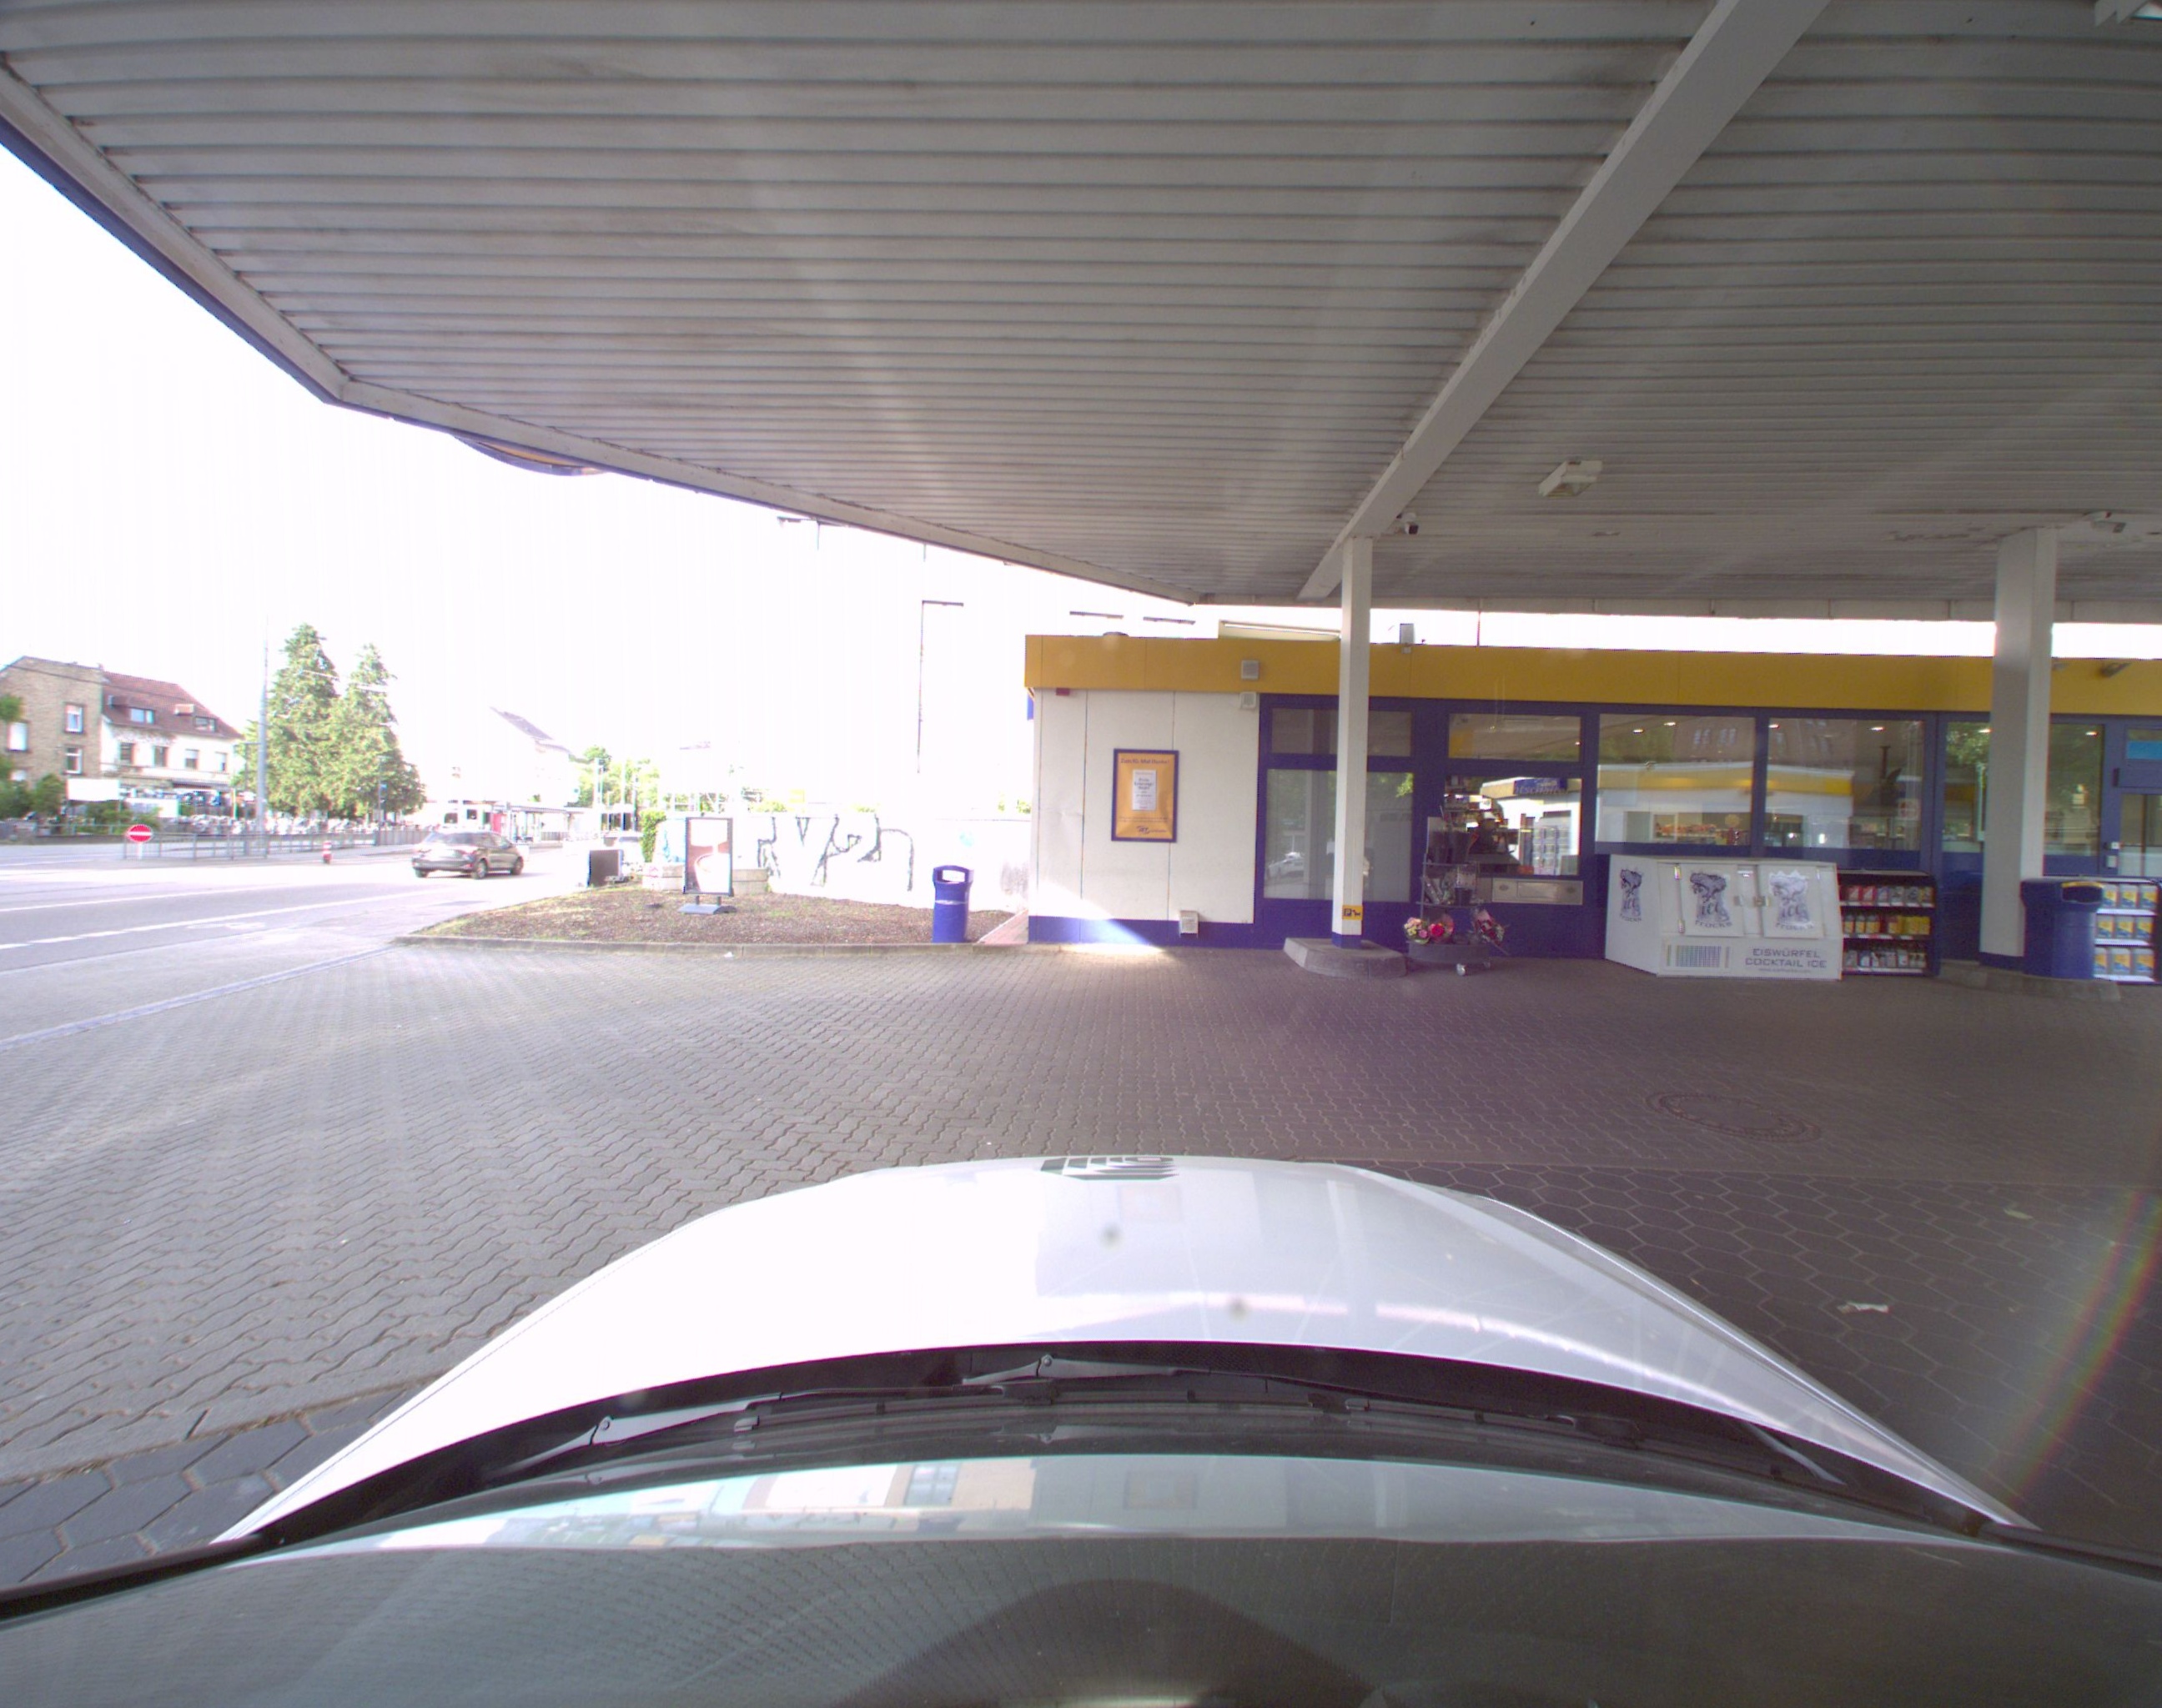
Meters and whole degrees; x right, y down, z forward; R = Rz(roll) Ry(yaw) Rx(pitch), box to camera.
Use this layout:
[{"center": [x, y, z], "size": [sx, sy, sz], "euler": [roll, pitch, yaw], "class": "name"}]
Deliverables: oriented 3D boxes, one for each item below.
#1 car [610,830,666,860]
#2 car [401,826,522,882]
[{"center": [-22.942, -0.484, 42.327], "size": [1.670, 1.400, 3.692], "euler": [2, 1, -15], "class": "car"}, {"center": [-19.319, -0.040, 25.603], "size": [1.670, 1.547, 3.692], "euler": [2, 1, -15], "class": "car"}]
